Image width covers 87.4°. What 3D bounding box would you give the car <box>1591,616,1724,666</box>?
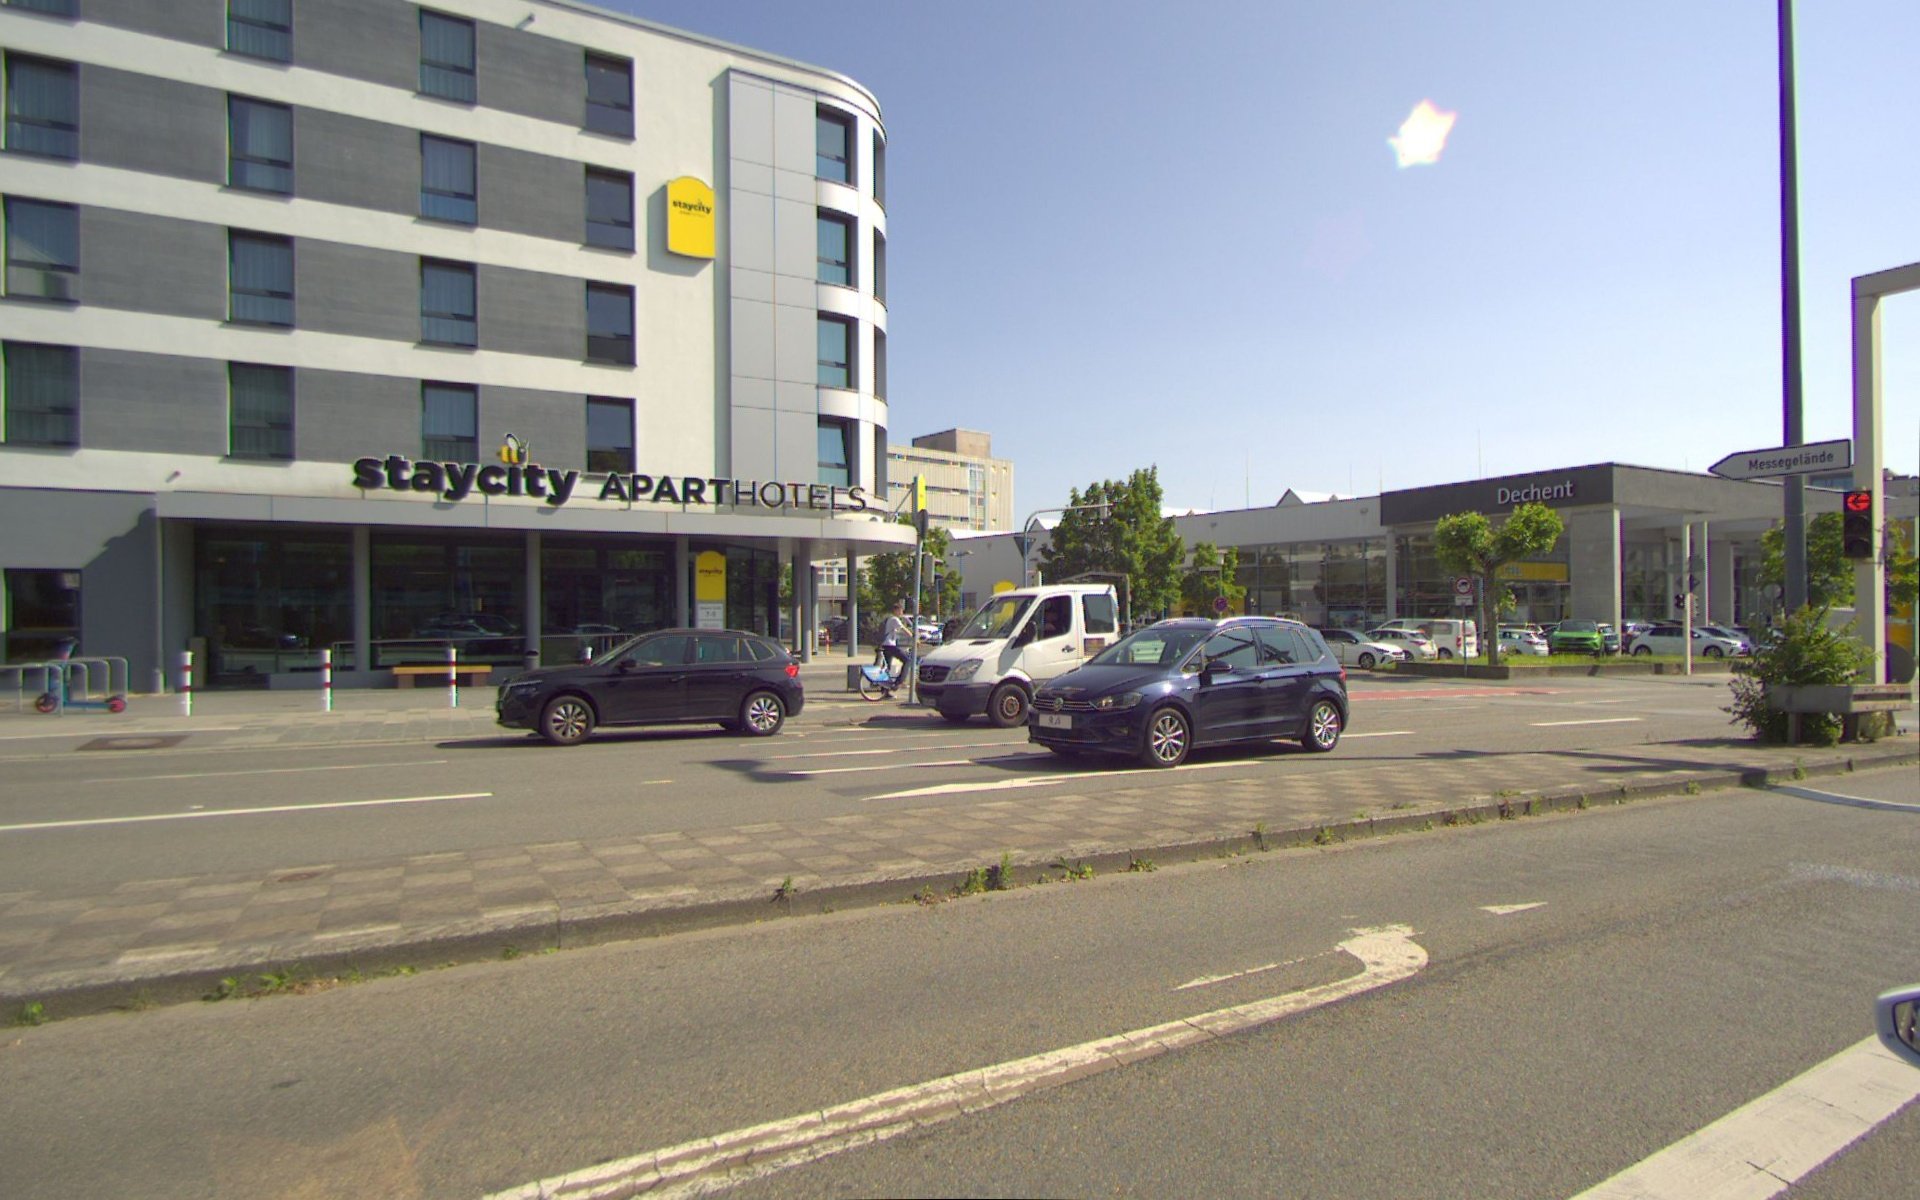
[{"bbox_3d":[27.340,1.575,39.486,1.978,1.862,3.849,1,-2,-32],"label":"car"}]

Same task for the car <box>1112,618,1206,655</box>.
[{"bbox_3d":[9.603,1.741,48.697,1.980,1.719,4.328,1,-2,-35],"label":"car"}]

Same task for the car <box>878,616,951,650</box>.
[{"bbox_3d":[-2.746,1.925,59.344,1.971,1.815,4.376,2,0,-42],"label":"car"}]

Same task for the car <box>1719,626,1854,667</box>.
[{"bbox_3d":[37.427,2.078,45.587,1.978,1.719,4.333,2,-1,-32],"label":"car"}]

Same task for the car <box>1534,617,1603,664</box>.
[{"bbox_3d":[23.982,1.608,39.709,1.870,1.756,3.293,0,-3,23],"label":"car"}]

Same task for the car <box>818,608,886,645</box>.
[{"bbox_3d":[-6.868,1.644,63.506,1.985,2.158,4.565,2,0,-42],"label":"car"}]

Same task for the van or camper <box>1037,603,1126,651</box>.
[{"bbox_3d":[6.365,1.417,53.024,1.983,2.432,4.678,1,-2,-38],"label":"van or camper"}]

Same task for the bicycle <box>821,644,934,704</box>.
[{"bbox_3d":[-1.643,1.460,20.150,2.134,1.131,0.765,1,-1,-27],"label":"bicycle"}]

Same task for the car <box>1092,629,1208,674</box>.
[{"bbox_3d":[6.578,1.754,35.083,1.760,1.457,3.878,1,-2,-34],"label":"car"}]

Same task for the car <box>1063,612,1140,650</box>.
[{"bbox_3d":[7.744,1.695,55.294,1.983,2.040,3.956,1,-2,-38],"label":"car"}]

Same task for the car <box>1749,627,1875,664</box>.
[{"bbox_3d":[41.598,2.184,49.122,1.978,1.719,4.333,1,-2,-32],"label":"car"}]

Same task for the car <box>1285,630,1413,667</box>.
[{"bbox_3d":[15.066,1.861,39.112,1.980,1.317,4.328,1,-2,-35],"label":"car"}]

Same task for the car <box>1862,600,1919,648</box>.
[{"bbox_3d":[53.225,1.352,55.748,1.973,2.635,4.345,1,-1,-24],"label":"car"}]

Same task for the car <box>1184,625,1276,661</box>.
[{"bbox_3d":[13.785,2.166,51.429,1.980,1.719,4.328,1,-2,-35],"label":"car"}]

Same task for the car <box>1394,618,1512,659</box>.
[{"bbox_3d":[21.947,1.693,44.864,1.982,1.719,4.323,1,-2,-38],"label":"car"}]

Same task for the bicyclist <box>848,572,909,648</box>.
[{"bbox_3d":[-1.635,0.206,20.180,1.013,1.479,0.765,1,-1,-25],"label":"bicyclist"}]

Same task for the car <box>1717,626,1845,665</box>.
[{"bbox_3d":[38.826,2.131,47.608,1.978,1.719,4.333,1,-2,-32],"label":"car"}]

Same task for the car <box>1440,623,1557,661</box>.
[{"bbox_3d":[24.540,1.871,45.871,1.982,1.612,4.325,1,-2,-37],"label":"car"}]

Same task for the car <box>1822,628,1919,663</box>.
[{"bbox_3d":[47.006,2.291,51.119,1.973,1.719,4.345,1,-1,-24],"label":"car"}]

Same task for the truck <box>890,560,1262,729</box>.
[{"bbox_3d":[2.127,0.801,17.850,6.355,2.578,2.349,1,-3,-28],"label":"truck"}]

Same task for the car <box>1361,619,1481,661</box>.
[{"bbox_3d":[19.846,1.704,43.373,1.982,1.719,4.323,1,-2,-38],"label":"car"}]

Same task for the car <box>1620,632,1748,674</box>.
[{"bbox_3d":[30.438,2.207,42.317,1.981,1.620,3.959,1,-2,-36],"label":"car"}]

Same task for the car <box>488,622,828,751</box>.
[{"bbox_3d":[-4.285,1.156,14.411,4.360,1.598,1.985,1,-3,-30],"label":"car"}]

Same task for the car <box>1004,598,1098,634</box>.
[{"bbox_3d":[4.512,0.796,50.190,4.304,1.719,1.991,-1,-2,39],"label":"car"}]

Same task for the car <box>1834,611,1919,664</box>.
[{"bbox_3d":[49.009,1.940,52.564,2.096,2.720,4.490,1,-1,-21],"label":"car"}]

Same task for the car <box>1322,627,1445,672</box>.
[{"bbox_3d":[17.393,1.988,41.434,1.980,1.719,4.328,1,-2,-35],"label":"car"}]

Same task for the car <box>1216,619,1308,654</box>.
[{"bbox_3d":[15.801,1.882,52.685,1.982,1.719,4.324,1,-2,-37],"label":"car"}]

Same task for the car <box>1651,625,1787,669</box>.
[{"bbox_3d":[32.780,1.996,43.494,1.978,1.789,4.274,1,-2,-32],"label":"car"}]

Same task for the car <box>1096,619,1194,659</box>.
[{"bbox_3d":[8.401,1.750,45.915,1.980,1.719,4.328,1,-2,-35],"label":"car"}]

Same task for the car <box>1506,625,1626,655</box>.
[{"bbox_3d":[27.855,1.836,46.258,1.982,1.284,4.325,4,-4,-37],"label":"car"}]

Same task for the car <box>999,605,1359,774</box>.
[{"bbox_3d":[2.633,0.923,11.699,4.094,1.639,1.873,1,-1,-36],"label":"car"}]
